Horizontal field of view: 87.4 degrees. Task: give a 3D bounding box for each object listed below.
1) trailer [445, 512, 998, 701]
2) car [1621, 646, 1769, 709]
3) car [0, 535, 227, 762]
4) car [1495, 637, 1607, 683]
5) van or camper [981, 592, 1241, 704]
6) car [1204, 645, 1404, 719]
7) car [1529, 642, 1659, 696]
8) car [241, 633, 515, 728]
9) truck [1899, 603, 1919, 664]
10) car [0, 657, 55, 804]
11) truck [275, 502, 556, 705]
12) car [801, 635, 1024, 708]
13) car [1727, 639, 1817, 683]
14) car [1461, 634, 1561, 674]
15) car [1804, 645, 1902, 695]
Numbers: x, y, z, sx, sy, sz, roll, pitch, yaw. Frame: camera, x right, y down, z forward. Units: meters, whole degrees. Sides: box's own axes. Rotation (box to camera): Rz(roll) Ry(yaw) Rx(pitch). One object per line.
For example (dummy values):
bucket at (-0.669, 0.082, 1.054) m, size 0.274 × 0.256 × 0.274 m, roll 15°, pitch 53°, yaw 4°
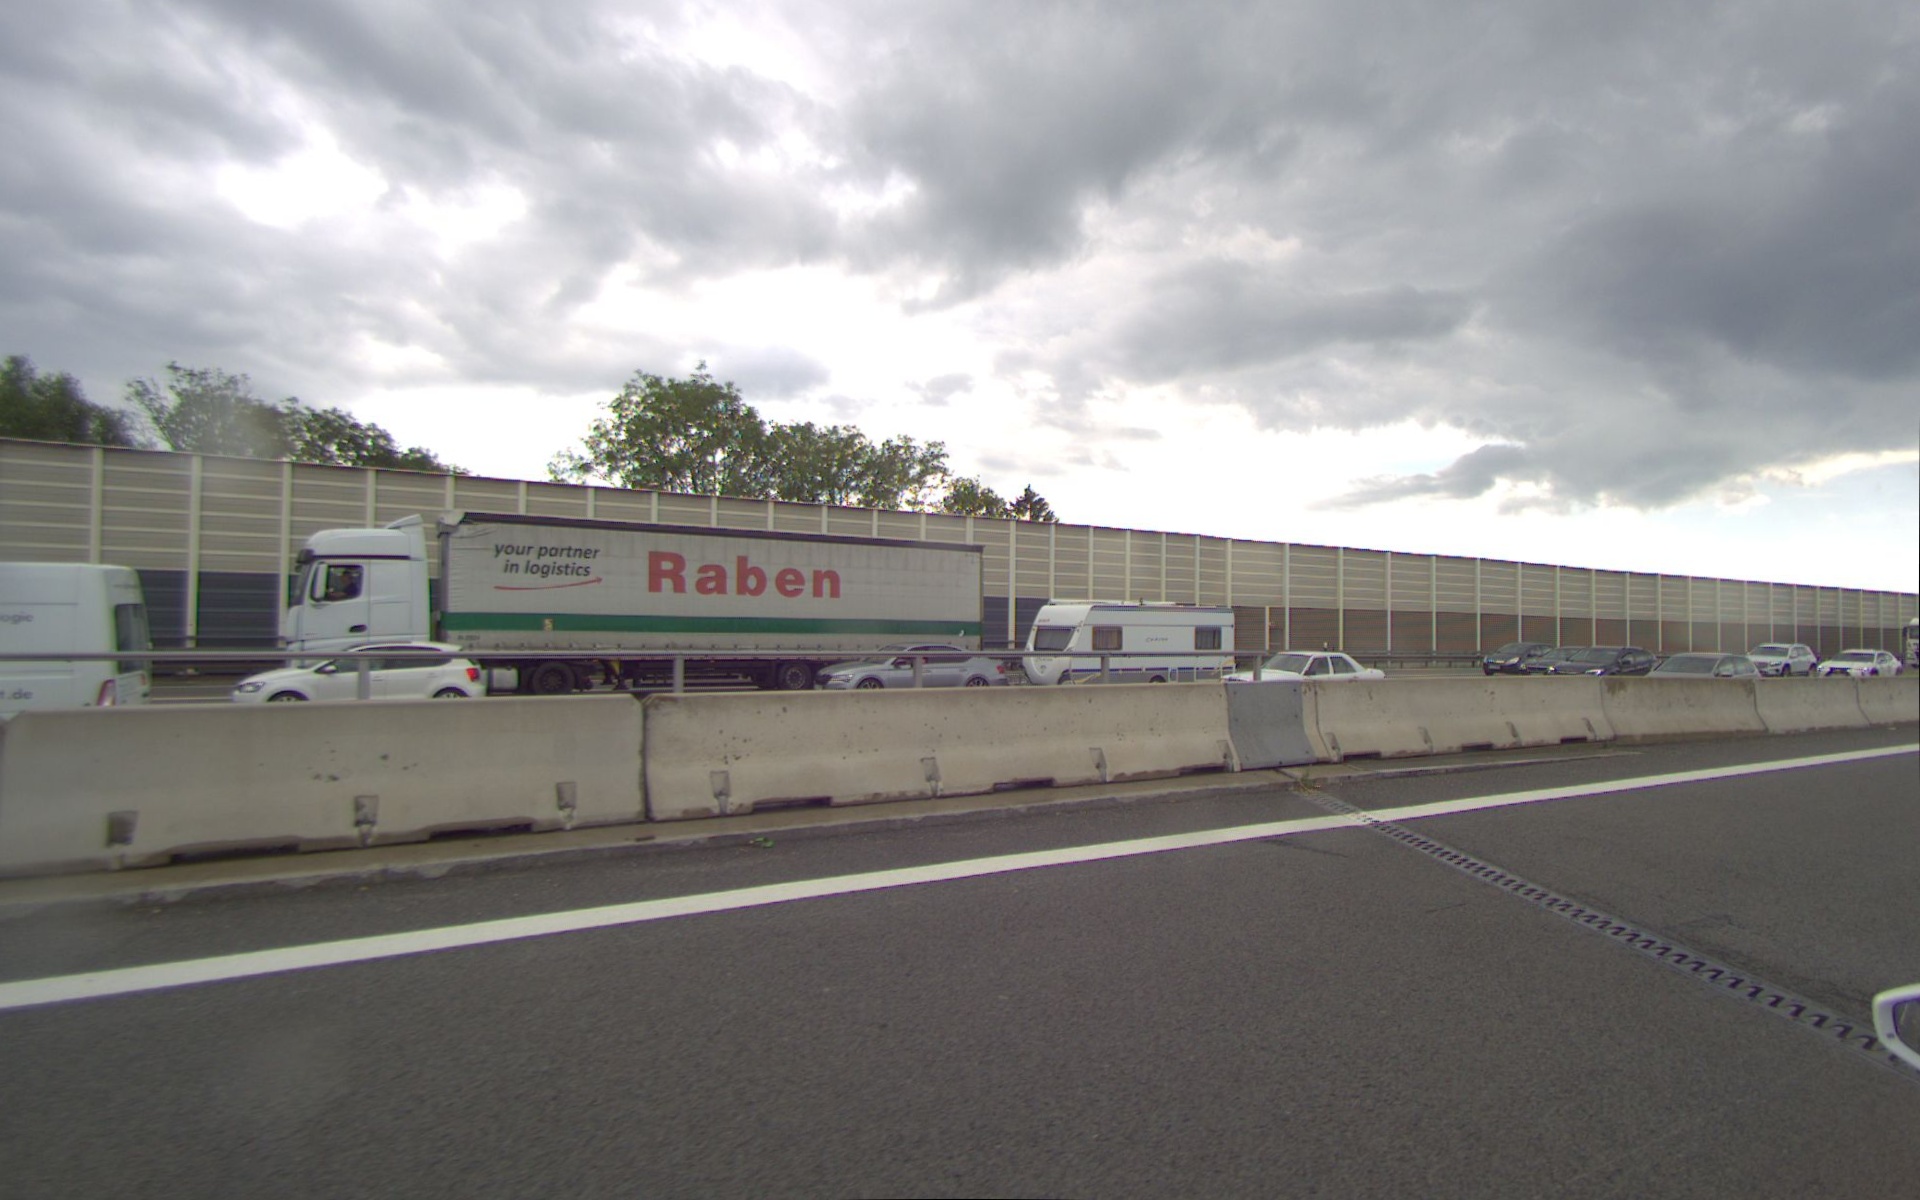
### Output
trailer at (-5.484, 0.248, 25.797) m, size 13.653 × 3.987 × 2.550 m, roll 1°, pitch 0°, yaw -30°
car at (21.016, 2.146, 28.699) m, size 4.202 × 1.620 × 1.914 m, roll 1°, pitch -1°, yaw -30°
car at (-10.720, 0.441, 9.430) m, size 5.944 × 2.098 × 2.149 m, roll 1°, pitch -1°, yaw -30°
car at (22.756, 2.266, 38.663) m, size 4.202 × 1.620 × 1.914 m, roll 1°, pitch -1°, yaw -30°
van or camper at (4.159, 1.235, 26.998) m, size 7.065 × 2.676 × 2.333 m, roll 1°, pitch -1°, yaw -30°
car at (8.624, 1.971, 25.055) m, size 5.036 × 1.620 × 1.914 m, roll 1°, pitch -1°, yaw -30°
car at (20.765, 2.200, 32.872) m, size 4.202 × 1.620 × 1.914 m, roll 1°, pitch -1°, yaw -30°
car at (-10.480, 1.390, 18.349) m, size 4.128 × 1.546 × 1.739 m, roll 1°, pitch -1°, yaw -30°
truck at (69.076, 2.349, 70.127) m, size 8.810 × 4.129 × 2.697 m, roll 1°, pitch 0°, yaw -30°
car at (-13.958, 1.558, 11.654) m, size 4.745 × 1.681 × 2.069 m, roll 1°, pitch -1°, yaw -30°
truck at (-11.815, 0.105, 22.104) m, size 5.116 × 3.987 × 2.564 m, roll 1°, pitch 0°, yaw -30°
car at (-1.063, 1.619, 23.802) m, size 5.080 × 1.546 × 1.739 m, roll 1°, pitch -1°, yaw -30°
car at (37.686, 2.792, 46.623) m, size 4.202 × 1.931 × 1.914 m, roll 1°, pitch -1°, yaw -30°
car at (23.925, 2.319, 43.593) m, size 4.202 × 1.620 × 1.914 m, roll 1°, pitch -1°, yaw -30°
car at (37.705, 2.899, 42.394) m, size 4.202 × 1.931 × 1.914 m, roll 1°, pitch -1°, yaw -30°
